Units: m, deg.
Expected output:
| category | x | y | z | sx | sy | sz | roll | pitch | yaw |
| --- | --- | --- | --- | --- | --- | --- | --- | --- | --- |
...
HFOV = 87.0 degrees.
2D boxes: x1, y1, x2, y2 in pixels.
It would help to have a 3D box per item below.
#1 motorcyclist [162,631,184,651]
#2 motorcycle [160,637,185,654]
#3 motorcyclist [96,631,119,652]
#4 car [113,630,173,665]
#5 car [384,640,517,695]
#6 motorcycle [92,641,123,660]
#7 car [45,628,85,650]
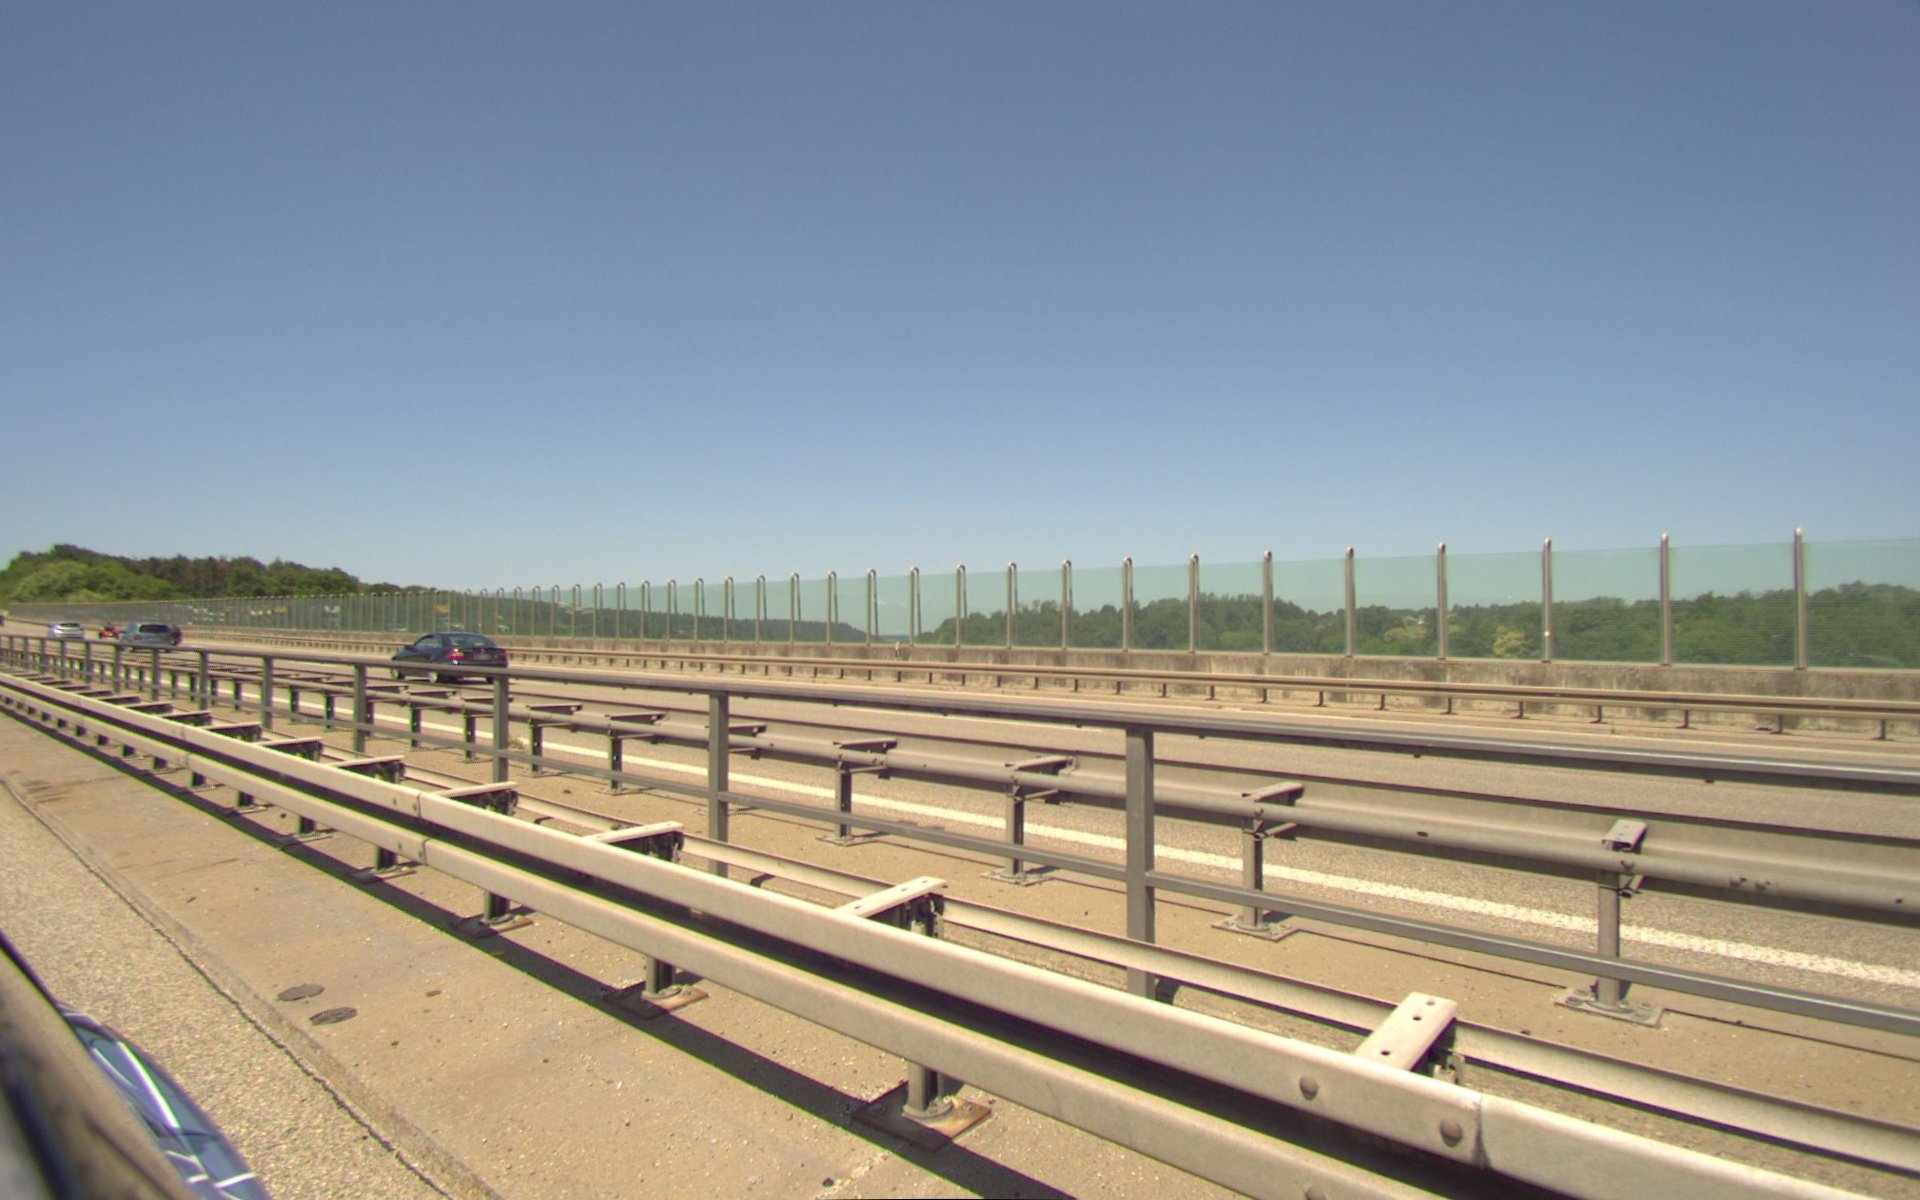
| category | x | y | z | sx | sy | sz | roll | pitch | yaw |
| --- | --- | --- | --- | --- | --- | --- | --- | --- | --- |
| motorcyclist | -52.492 | 2.733 | 67.504 | 1.286 | 1.293 | 0.909 | -1 | 0 | 41 |
| motorcycle | -52.720 | 3.047 | 67.714 | 2.649 | 1.079 | 0.782 | -1 | -2 | 41 |
| motorcyclist | -73.063 | 3.538 | 86.732 | 1.132 | 1.697 | 1.362 | -1 | 0 | 40 |
| car | -43.736 | 2.518 | 54.144 | 4.152 | 1.715 | 1.763 | -1 | -3 | 41 |
| car | -14.072 | 1.815 | 27.844 | 4.268 | 1.330 | 1.742 | -1 | -3 | 41 |
| motorcycle | -72.994 | 4.306 | 86.674 | 3.380 | 1.488 | 1.471 | -1 | -1 | 40 |
| car | -66.306 | 2.876 | 74.979 | 4.122 | 1.501 | 1.713 | -1 | 0 | 41 |
